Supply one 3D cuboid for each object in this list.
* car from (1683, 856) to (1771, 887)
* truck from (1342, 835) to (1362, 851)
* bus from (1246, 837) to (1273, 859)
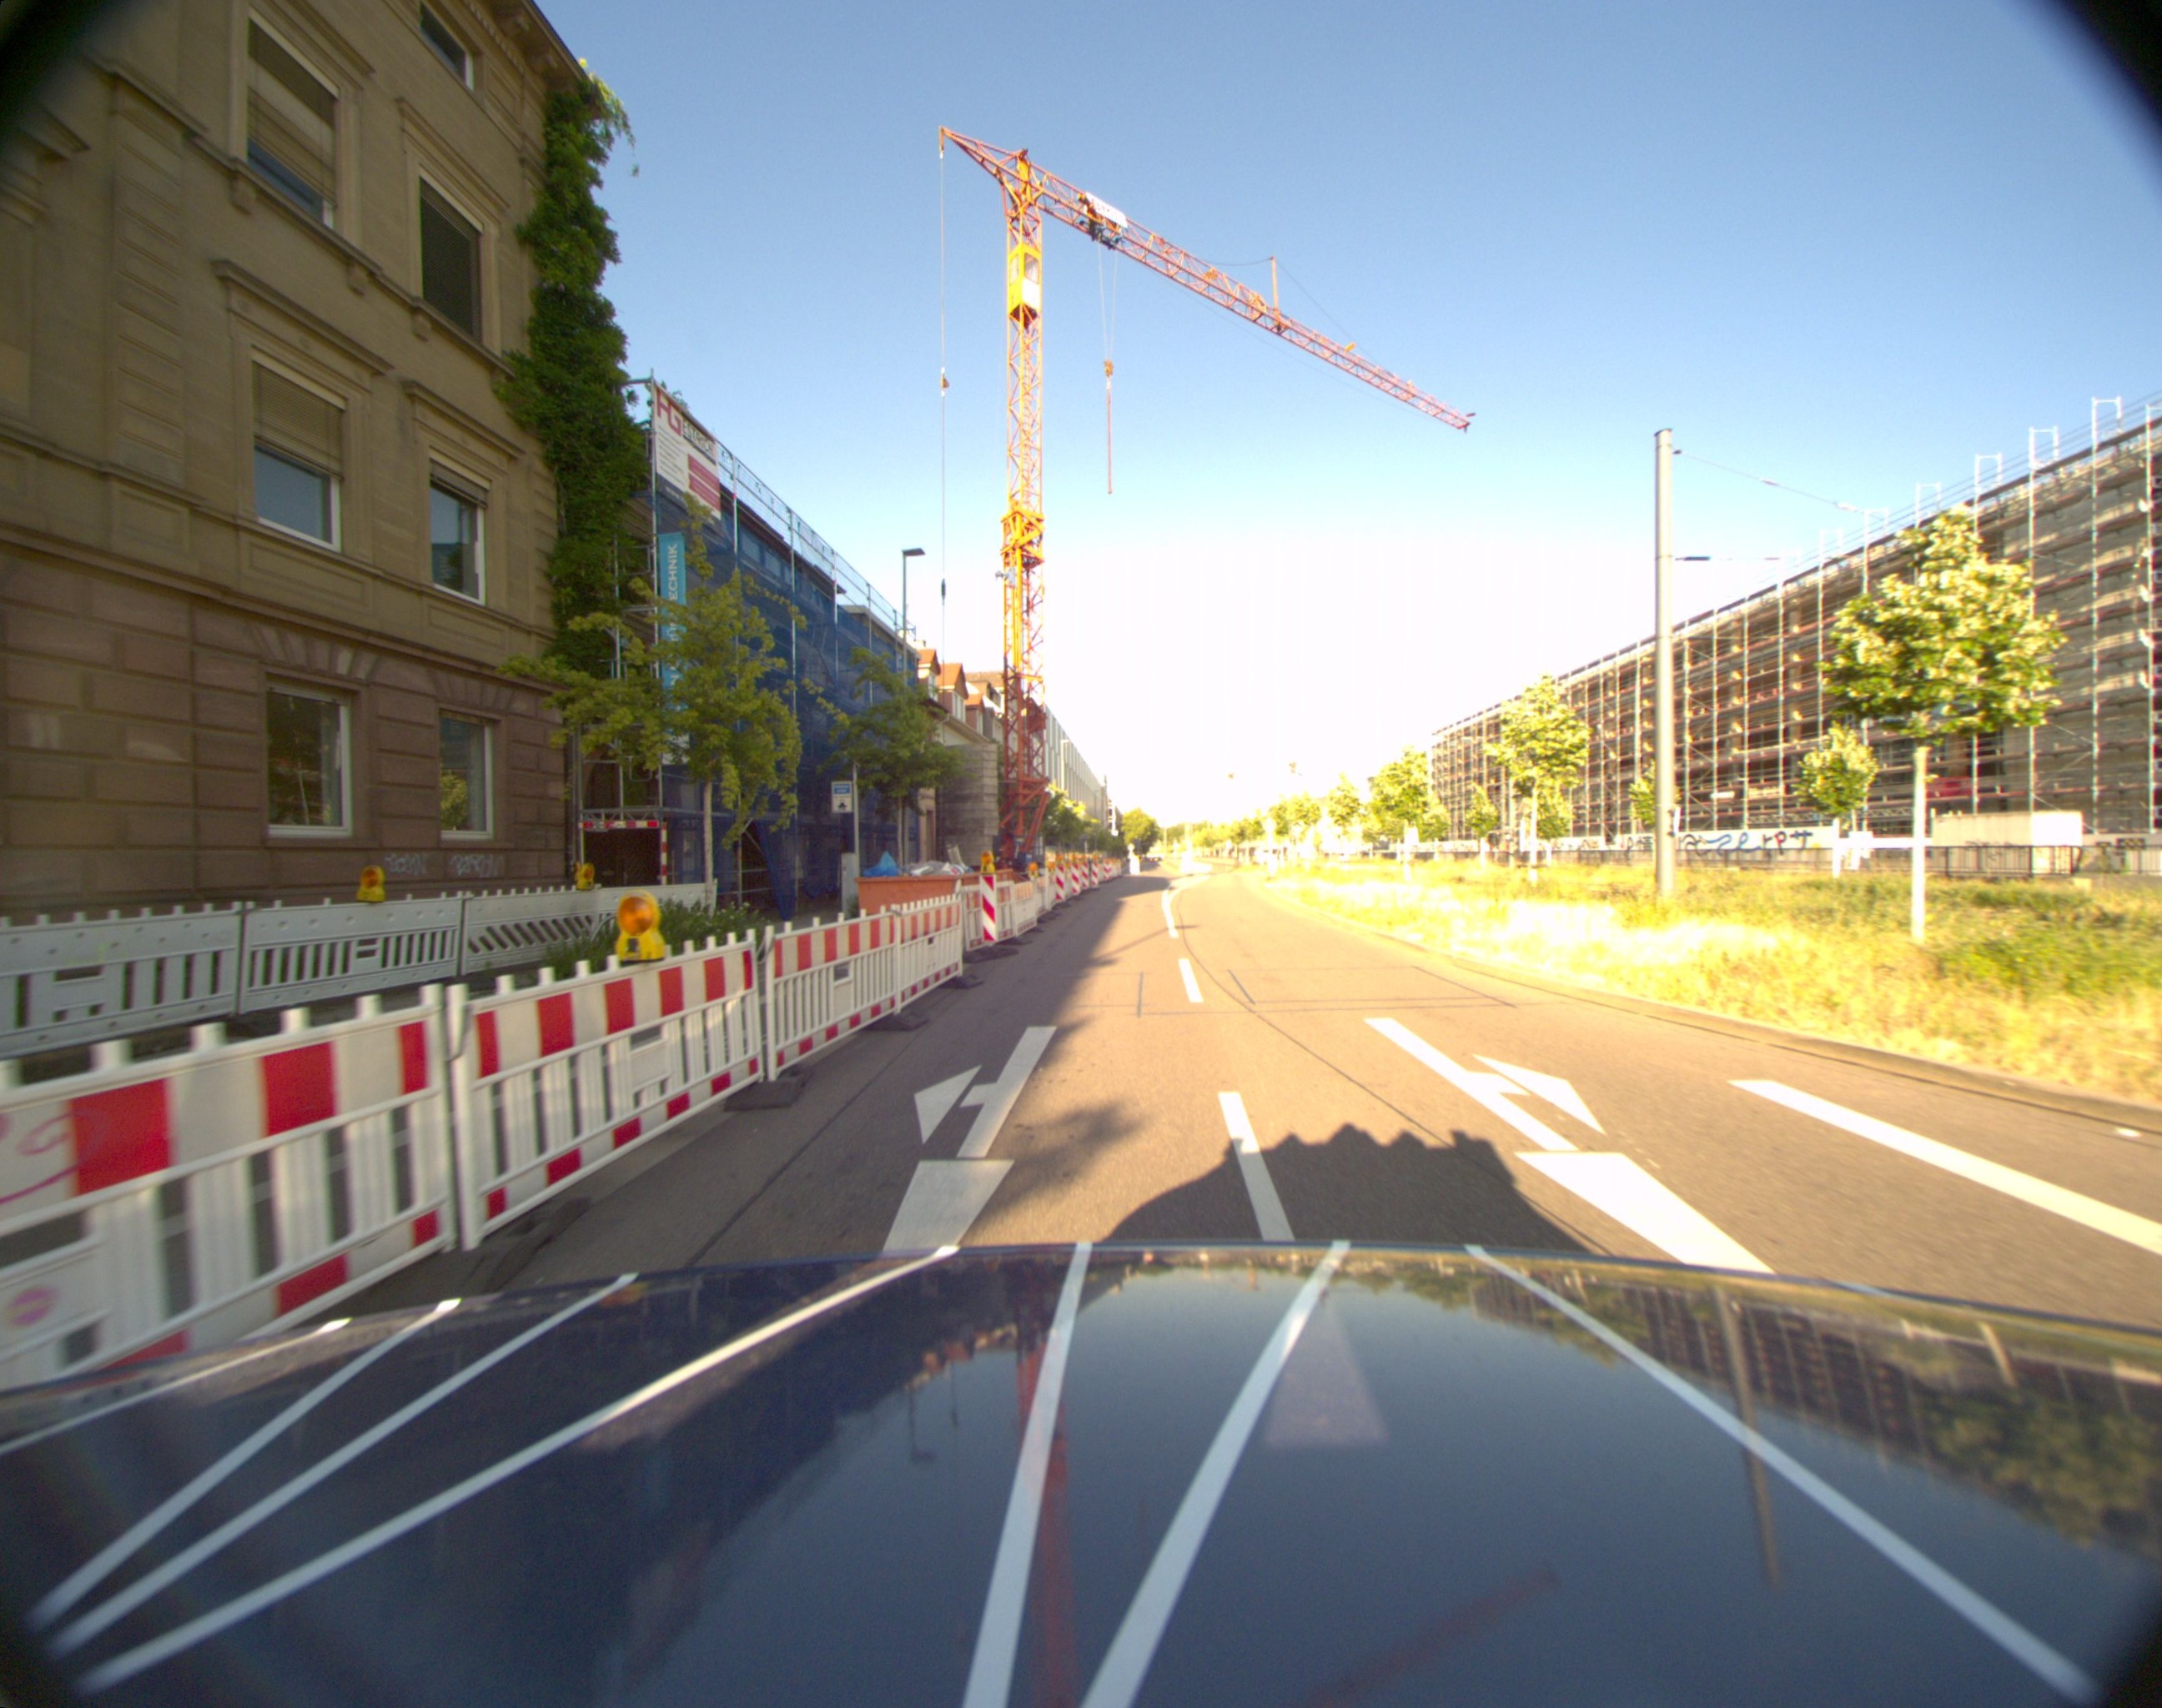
[{"bbox_3d":[33.927,0.889,40.028,1.607,1.549,3.843,0,0,5],"label":"car"},{"bbox_3d":[44.535,-1.710,124.835,2.142,2.559,4.742,-1,0,7],"label":"truck"},{"bbox_3d":[26.739,-0.877,114.187,2.722,3.203,8.659,-1,0,6],"label":"bus"}]
